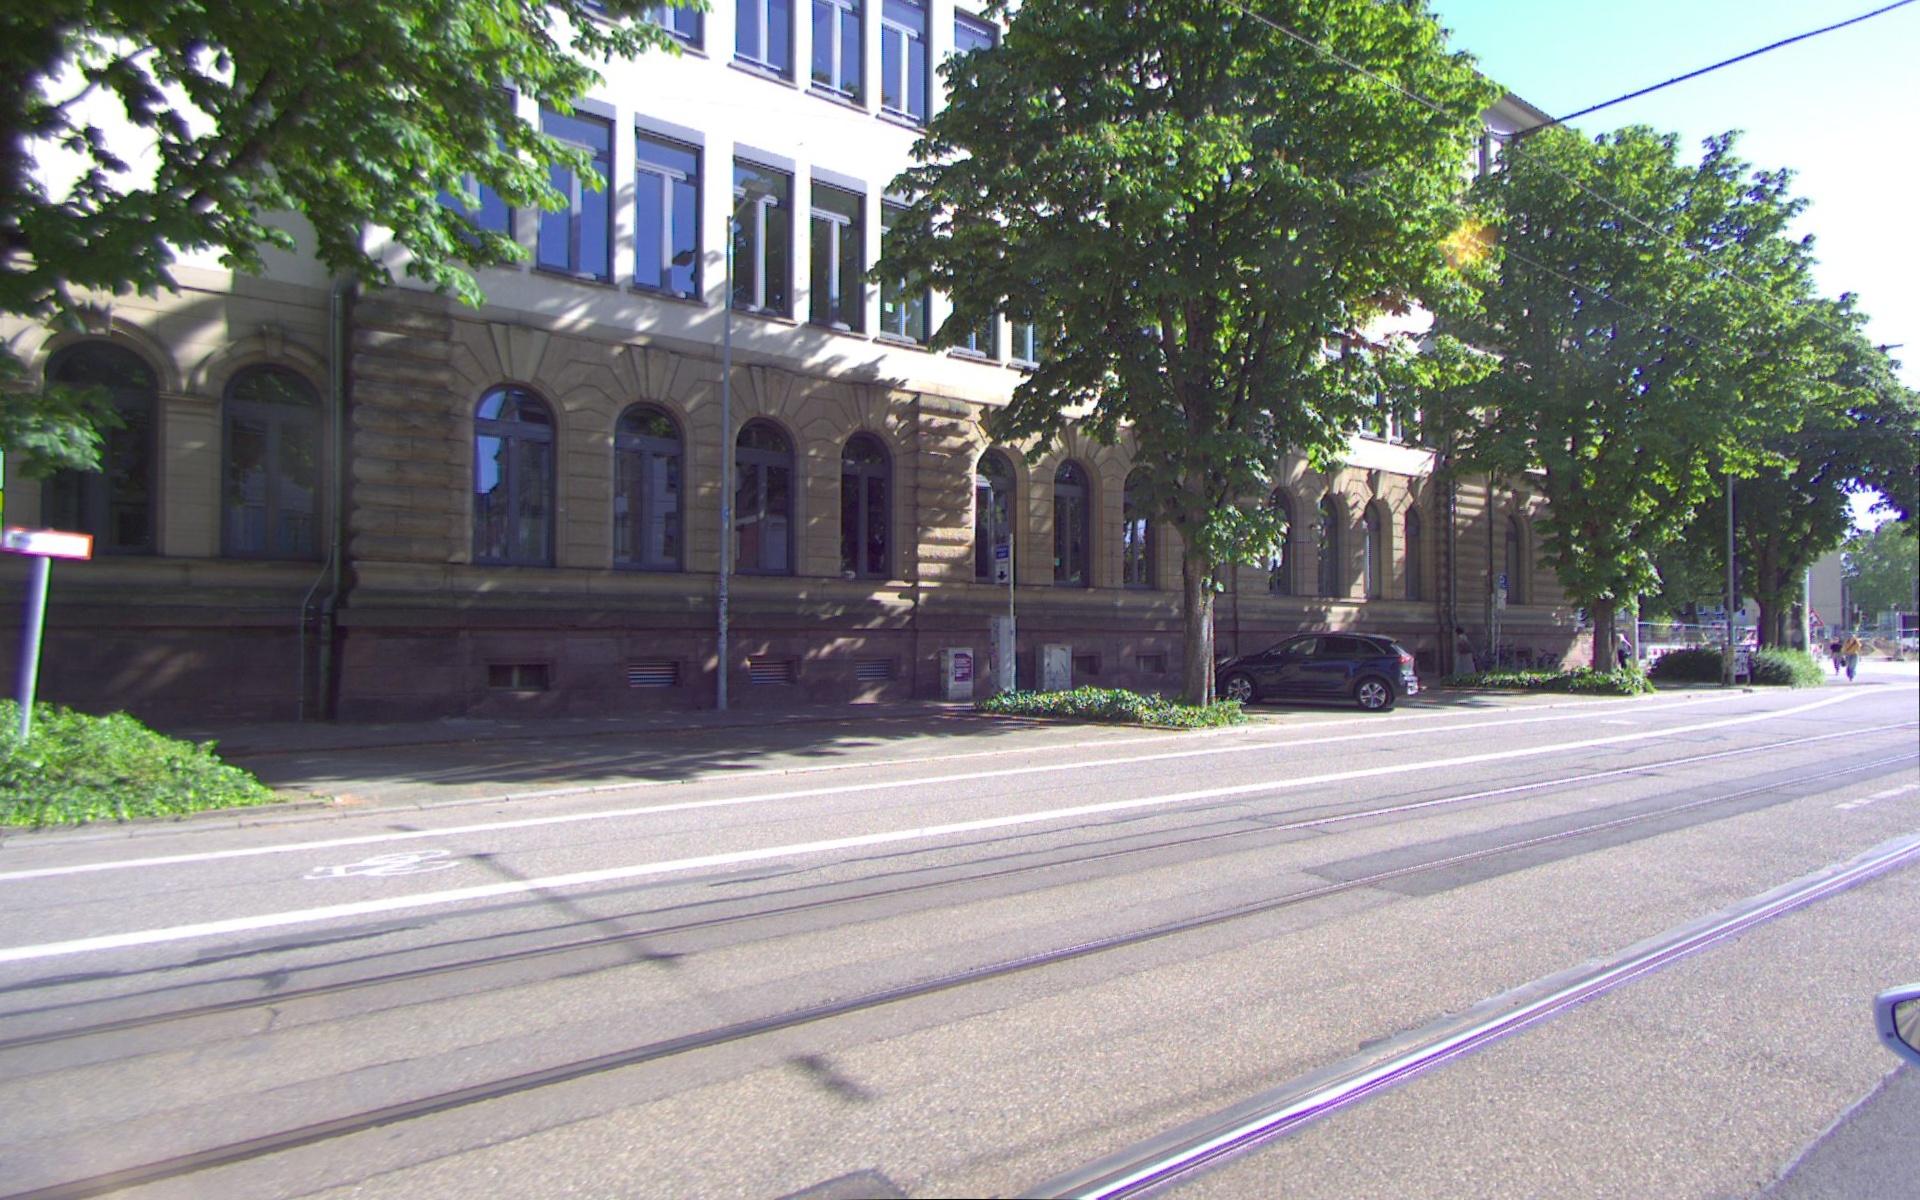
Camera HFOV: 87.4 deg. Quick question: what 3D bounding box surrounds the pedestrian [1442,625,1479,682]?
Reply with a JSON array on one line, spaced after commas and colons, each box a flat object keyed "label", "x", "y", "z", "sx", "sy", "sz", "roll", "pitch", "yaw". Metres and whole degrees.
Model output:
[{"label": "pedestrian", "x": 15.086, "y": 1.599, "z": 30.258, "sx": 0.752, "sy": 1.657, "sz": 0.696, "roll": 1, "pitch": 0, "yaw": -35}]

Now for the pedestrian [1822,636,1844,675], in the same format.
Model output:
[{"label": "pedestrian", "x": 39.326, "y": 2.490, "z": 45.251, "sx": 0.610, "sy": 1.719, "sz": 0.677, "roll": -1, "pitch": -2, "yaw": 34}]

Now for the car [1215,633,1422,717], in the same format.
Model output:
[{"label": "car", "x": 7.632, "y": 1.531, "z": 21.418, "sx": 3.927, "sy": 1.570, "sz": 1.875, "roll": 0, "pitch": -1, "yaw": 29}]

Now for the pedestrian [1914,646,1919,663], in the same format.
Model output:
[{"label": "pedestrian", "x": 61.878, "y": 3.488, "z": 64.413, "sx": 0.648, "sy": 1.060, "sz": 0.892, "roll": 1, "pitch": -2, "yaw": -34}]

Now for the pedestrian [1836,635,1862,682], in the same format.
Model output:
[{"label": "pedestrian", "x": 33.095, "y": 2.169, "z": 37.377, "sx": 0.629, "sy": 1.719, "sz": 0.815, "roll": -3, "pitch": -4, "yaw": 43}]

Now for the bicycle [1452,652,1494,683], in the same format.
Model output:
[{"label": "bicycle", "x": 16.309, "y": 2.138, "z": 31.938, "sx": 1.603, "sy": 0.929, "sz": 0.478, "roll": 2, "pitch": -2, "yaw": -34}]

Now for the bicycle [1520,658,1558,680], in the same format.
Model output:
[{"label": "bicycle", "x": 19.935, "y": 2.372, "z": 34.581, "sx": 1.603, "sy": 0.734, "sz": 0.478, "roll": 2, "pitch": -2, "yaw": -34}]

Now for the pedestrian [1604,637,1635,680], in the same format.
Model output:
[{"label": "pedestrian", "x": 23.427, "y": 2.063, "z": 35.698, "sx": 0.908, "sy": 1.524, "sz": 0.704, "roll": -1, "pitch": -2, "yaw": 33}]

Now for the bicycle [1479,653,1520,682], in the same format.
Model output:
[{"label": "bicycle", "x": 17.712, "y": 2.198, "z": 32.950, "sx": 1.603, "sy": 0.929, "sz": 0.478, "roll": 2, "pitch": -2, "yaw": -34}]
